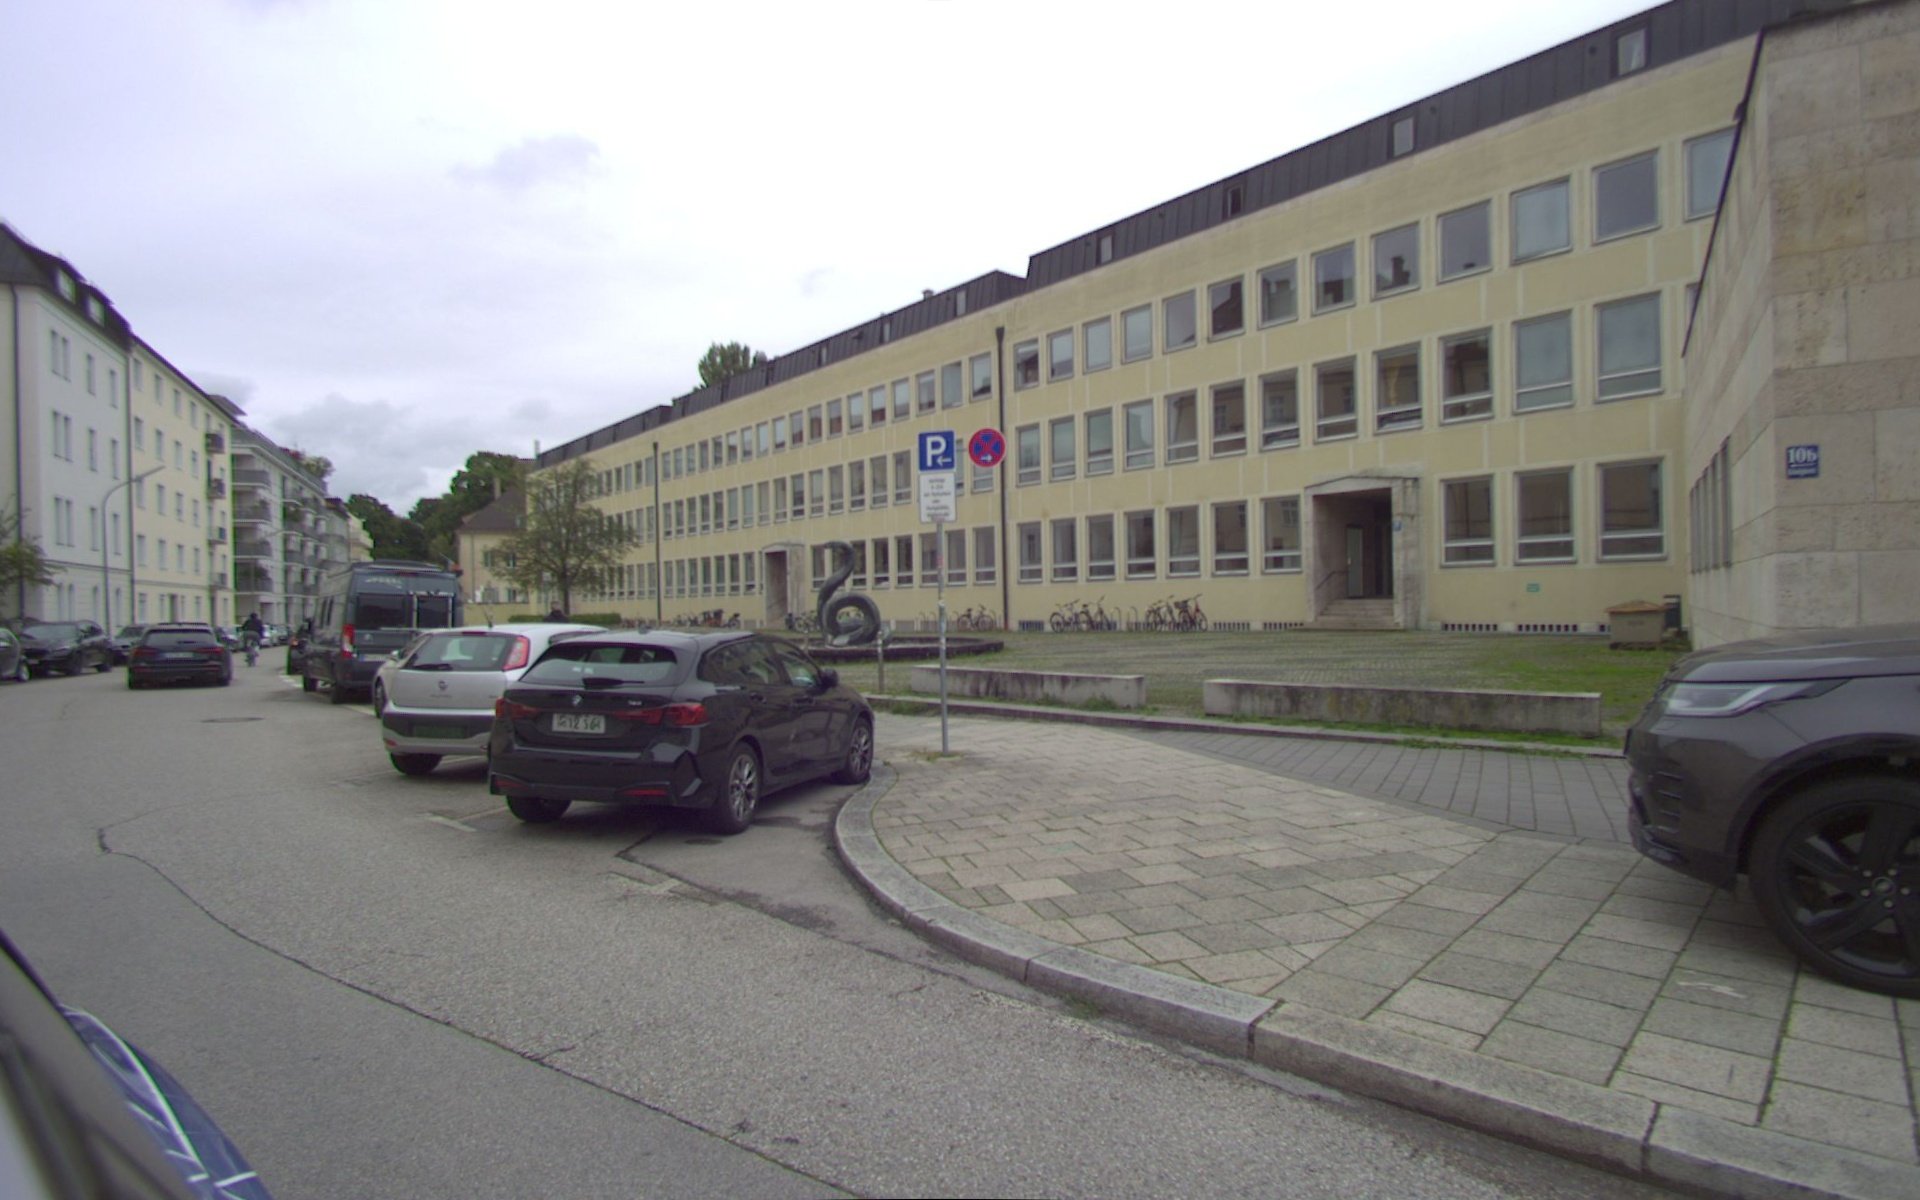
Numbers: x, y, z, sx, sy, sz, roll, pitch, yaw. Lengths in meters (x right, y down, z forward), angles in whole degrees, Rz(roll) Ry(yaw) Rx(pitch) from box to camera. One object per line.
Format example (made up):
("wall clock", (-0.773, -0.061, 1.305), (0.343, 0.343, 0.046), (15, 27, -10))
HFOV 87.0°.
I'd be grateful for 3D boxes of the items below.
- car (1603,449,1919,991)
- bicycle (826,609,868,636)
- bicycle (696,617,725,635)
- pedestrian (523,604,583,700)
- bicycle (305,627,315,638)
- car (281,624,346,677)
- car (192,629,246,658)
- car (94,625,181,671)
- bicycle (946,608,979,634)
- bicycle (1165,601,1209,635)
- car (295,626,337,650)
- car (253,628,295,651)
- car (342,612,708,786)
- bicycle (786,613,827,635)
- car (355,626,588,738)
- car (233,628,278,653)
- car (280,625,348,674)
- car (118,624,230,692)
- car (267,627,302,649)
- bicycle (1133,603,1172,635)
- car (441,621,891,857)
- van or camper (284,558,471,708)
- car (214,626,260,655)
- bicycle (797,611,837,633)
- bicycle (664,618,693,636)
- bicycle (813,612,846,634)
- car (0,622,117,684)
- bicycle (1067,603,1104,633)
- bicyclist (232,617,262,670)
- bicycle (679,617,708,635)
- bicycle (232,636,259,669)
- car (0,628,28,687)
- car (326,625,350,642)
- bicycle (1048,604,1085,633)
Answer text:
("car", (4.952, 0.347, 3.089), (4.879, 1.749, 2.033), (-1, 0, 38))
("bicycle", (-5.153, 1.035, 46.183), (1.823, 1.104, 0.703), (-3, 0, -43))
("bicycle", (-14.050, 1.469, 57.061), (0.503, 0.952, 1.588), (-3, 0, 40))
("pedestrian", (-8.216, 1.035, 20.428), (0.712, 1.880, 0.835), (-2, 0, 36))
("bicycle", (-68.096, 3.388, 106.013), (0.561, 1.106, 1.816), (2, -2, -25))
("car", (-19.037, 1.470, 29.893), (1.498, 1.477, 2.895), (1, -2, -31))
("car", (-40.024, 2.318, 54.742), (1.700, 1.461, 4.201), (-2, 0, -28))
("car", (-33.263, 1.890, 41.074), (1.820, 1.676, 4.512), (-2, 0, -28))
("bicycle", (0.112, 0.851, 40.278), (1.390, 0.952, 0.415), (-3, 0, -43))
("bicycle", (7.114, 0.563, 31.674), (1.686, 0.952, 0.415), (-3, 0, -43))
("car", (-44.577, 2.609, 70.152), (1.965, 1.541, 4.013), (-2, 0, -26))
("car", (-46.823, 2.676, 69.118), (1.748, 1.440, 4.630), (-2, 0, -27))
("car", (-4.398, 0.927, 10.926), (1.698, 1.519, 3.792), (0, -2, 14))
("bicycle", (-7.387, 1.163, 48.775), (1.927, 0.952, 0.415), (-3, 0, -39))
("car", (-7.587, 1.151, 15.520), (1.970, 1.462, 4.218), (2, -3, -44))
("car", (-44.352, 2.504, 63.788), (1.701, 1.440, 4.307), (-2, 0, -27))
("car", (-21.189, 1.586, 33.325), (1.749, 1.477, 4.479), (1, -2, -31))
("car", (-18.555, 1.296, 23.994), (1.895, 1.423, 4.714), (2, -2, -37))
("car", (-49.056, 2.737, 73.553), (1.631, 1.440, 3.768), (-2, 0, -27))
("bicycle", (6.255, 0.607, 32.814), (1.453, 0.952, 0.415), (-3, 0, -43))
("car", (-2.043, 0.909, 8.345), (1.797, 1.432, 3.979), (0, -2, 14))
("van or camper", (-12.037, 0.654, 20.664), (2.268, 2.601, 6.095), (1, -2, -40))
("car", (-42.456, 2.364, 59.500), (1.628, 1.555, 4.006), (-2, 0, -28))
("bicycle", (-6.833, 1.060, 48.413), (1.832, 0.952, 0.415), (-3, 0, -32))
("bicycle", (-16.897, 1.617, 60.751), (1.586, 0.952, 0.503), (-3, 0, -45))
("bicycle", (-6.097, 1.070, 47.303), (1.387, 0.952, 0.415), (-3, 0, -29))
("car", (-28.837, 1.621, 32.007), (2.139, 1.752, 5.040), (-2, 0, -26))
("bicycle", (4.406, 0.616, 35.417), (1.453, 0.952, 0.415), (-3, 0, -43))
("bicyclist", (-24.276, 1.489, 34.472), (0.735, 1.785, 0.816), (2, -3, -40))
("bicycle", (-15.512, 1.525, 58.948), (1.586, 0.952, 0.503), (-3, 0, -45))
("bicycle", (-24.339, 1.768, 34.454), (0.578, 1.078, 1.940), (2, -3, -40))
("car", (-26.546, 1.584, 27.085), (1.492, 1.566, 3.028), (-2, 0, -25))
("car", (-61.098, 3.279, 99.429), (1.594, 1.478, 3.758), (-2, 0, -25))
("bicycle", (3.802, 0.648, 35.997), (1.453, 0.952, 0.415), (-3, 0, -43))
